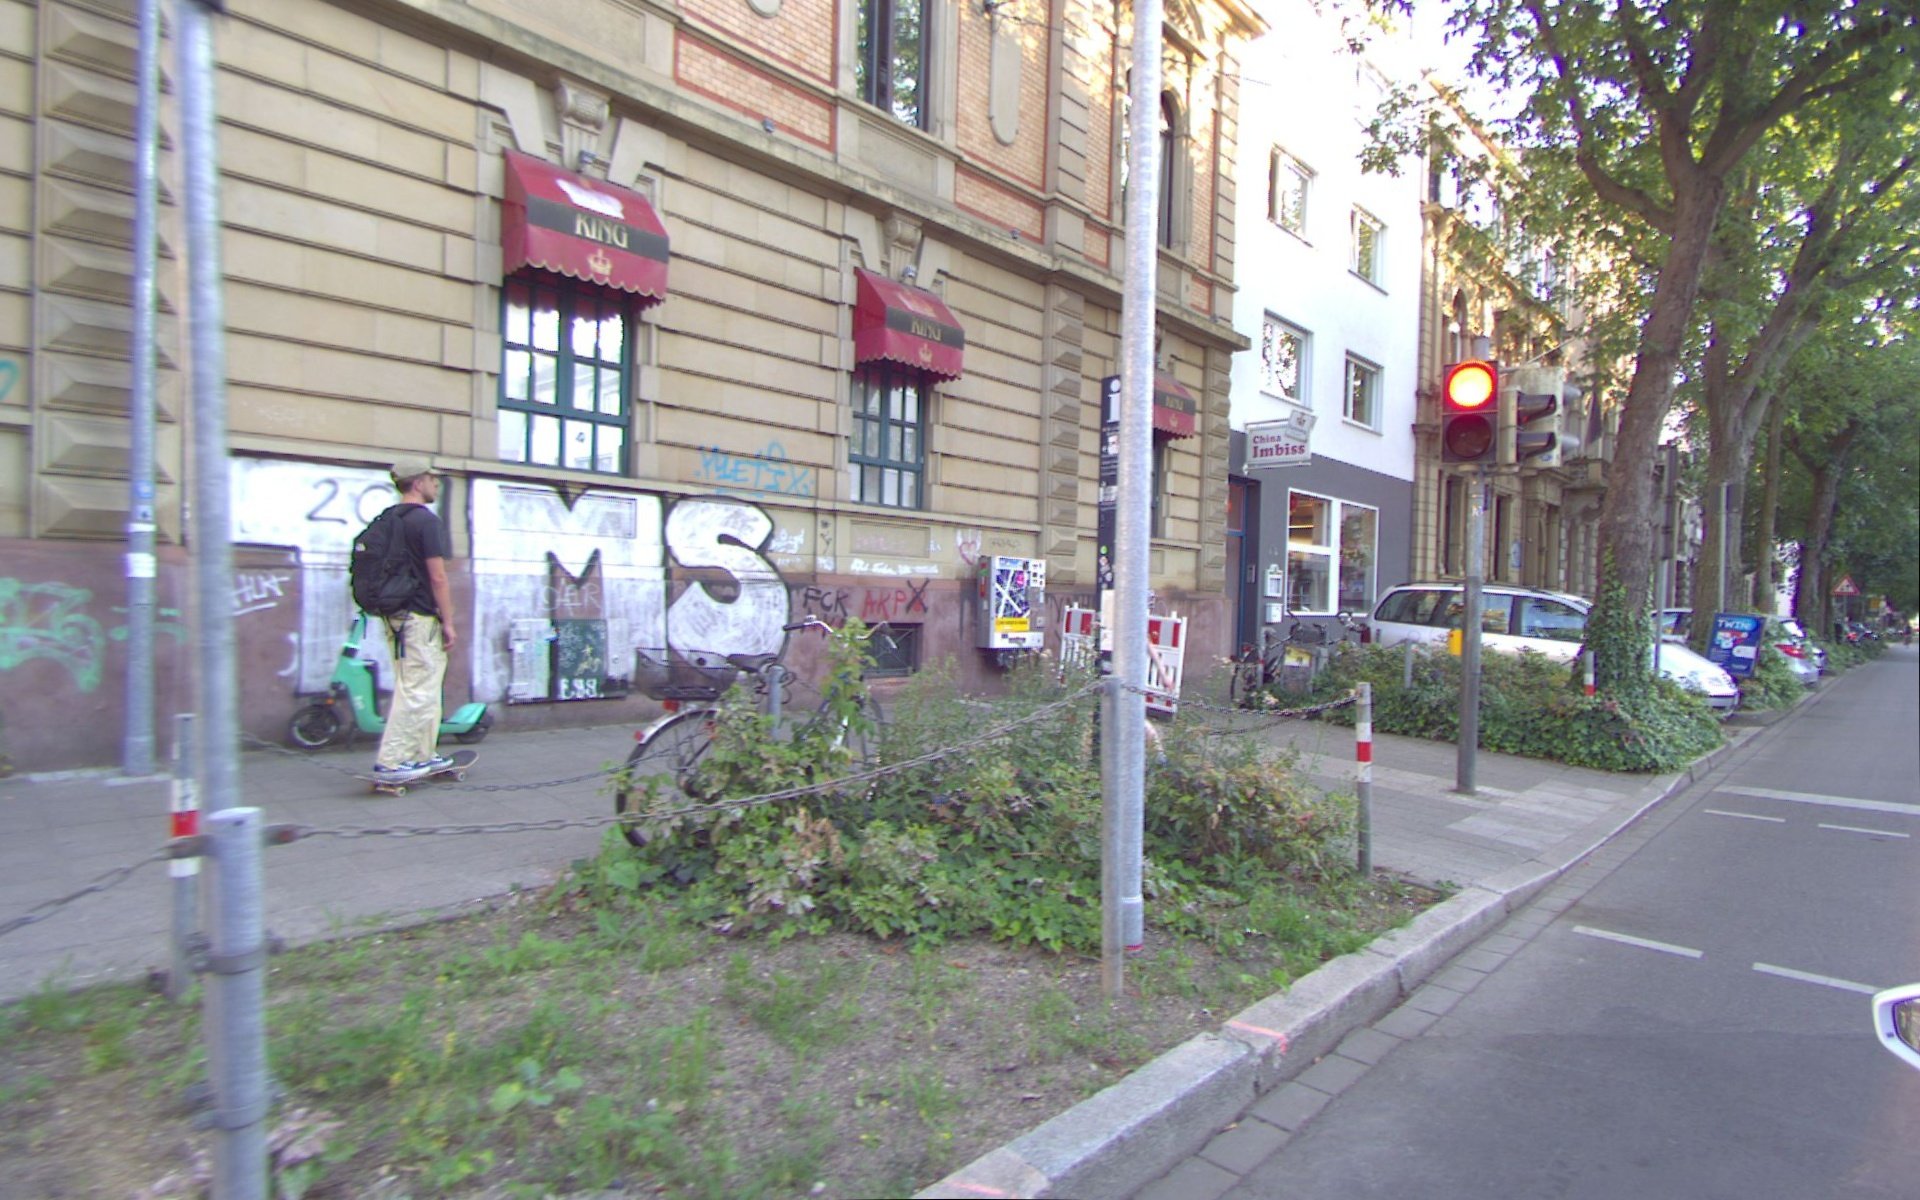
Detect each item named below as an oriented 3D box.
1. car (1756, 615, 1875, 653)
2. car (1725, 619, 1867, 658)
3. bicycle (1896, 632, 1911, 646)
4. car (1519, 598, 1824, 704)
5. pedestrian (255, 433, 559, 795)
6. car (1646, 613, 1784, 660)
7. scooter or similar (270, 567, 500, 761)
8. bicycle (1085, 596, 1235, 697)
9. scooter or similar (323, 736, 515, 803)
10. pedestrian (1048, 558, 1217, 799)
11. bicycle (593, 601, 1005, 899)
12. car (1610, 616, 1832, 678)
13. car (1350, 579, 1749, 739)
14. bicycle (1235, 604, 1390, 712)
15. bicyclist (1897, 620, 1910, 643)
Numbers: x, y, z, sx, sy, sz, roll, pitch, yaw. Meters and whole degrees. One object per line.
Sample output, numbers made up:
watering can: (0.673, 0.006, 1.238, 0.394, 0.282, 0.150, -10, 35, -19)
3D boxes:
car: (44.075, 1.698, 51.814, 1.821, 1.714, 4.502, 1, 1, -44)
car: (35.701, 1.609, 42.982, 1.821, 1.428, 4.502, 1, 0, -44)
bicycle: (63.729, 2.631, 67.871, 0.564, 0.962, 1.737, 3, 0, 38)
car: (13.427, 0.878, 19.160, 1.821, 1.711, 4.502, 1, 0, -44)
pedestrian: (-3.082, 0.056, 5.654, 0.837, 1.762, 1.261, 3, 2, 38)
car: (28.770, 1.351, 38.354, 1.821, 1.611, 3.998, 1, 0, -45)
scooter or similar: (-3.817, 0.406, 6.710, 1.274, 1.183, 0.435, 2, 2, -34)
bicycle: (2.720, 0.592, 13.420, 2.547, 1.218, 0.630, 1, 0, -45)
scooter or similar: (-3.088, 0.959, 5.767, 0.412, 0.210, 0.878, 6, 2, 38)
pedestrian: (1.257, 0.523, 7.274, 0.962, 1.578, 0.700, 4, 2, 26)
bicycle: (-0.677, 0.615, 4.942, 0.505, 1.169, 2.088, 4, 2, 44)
car: (20.219, 1.181, 26.828, 1.821, 1.390, 4.502, 1, 0, -44)
car: (8.033, 0.678, 13.964, 4.497, 1.859, 1.823, 1, 0, 42)
bicycle: (4.483, 0.687, 12.626, 0.727, 1.202, 2.617, 4, 2, 45)
bicyclist: (63.734, 2.126, 67.845, 0.564, 1.489, 0.640, 3, 0, 38)
